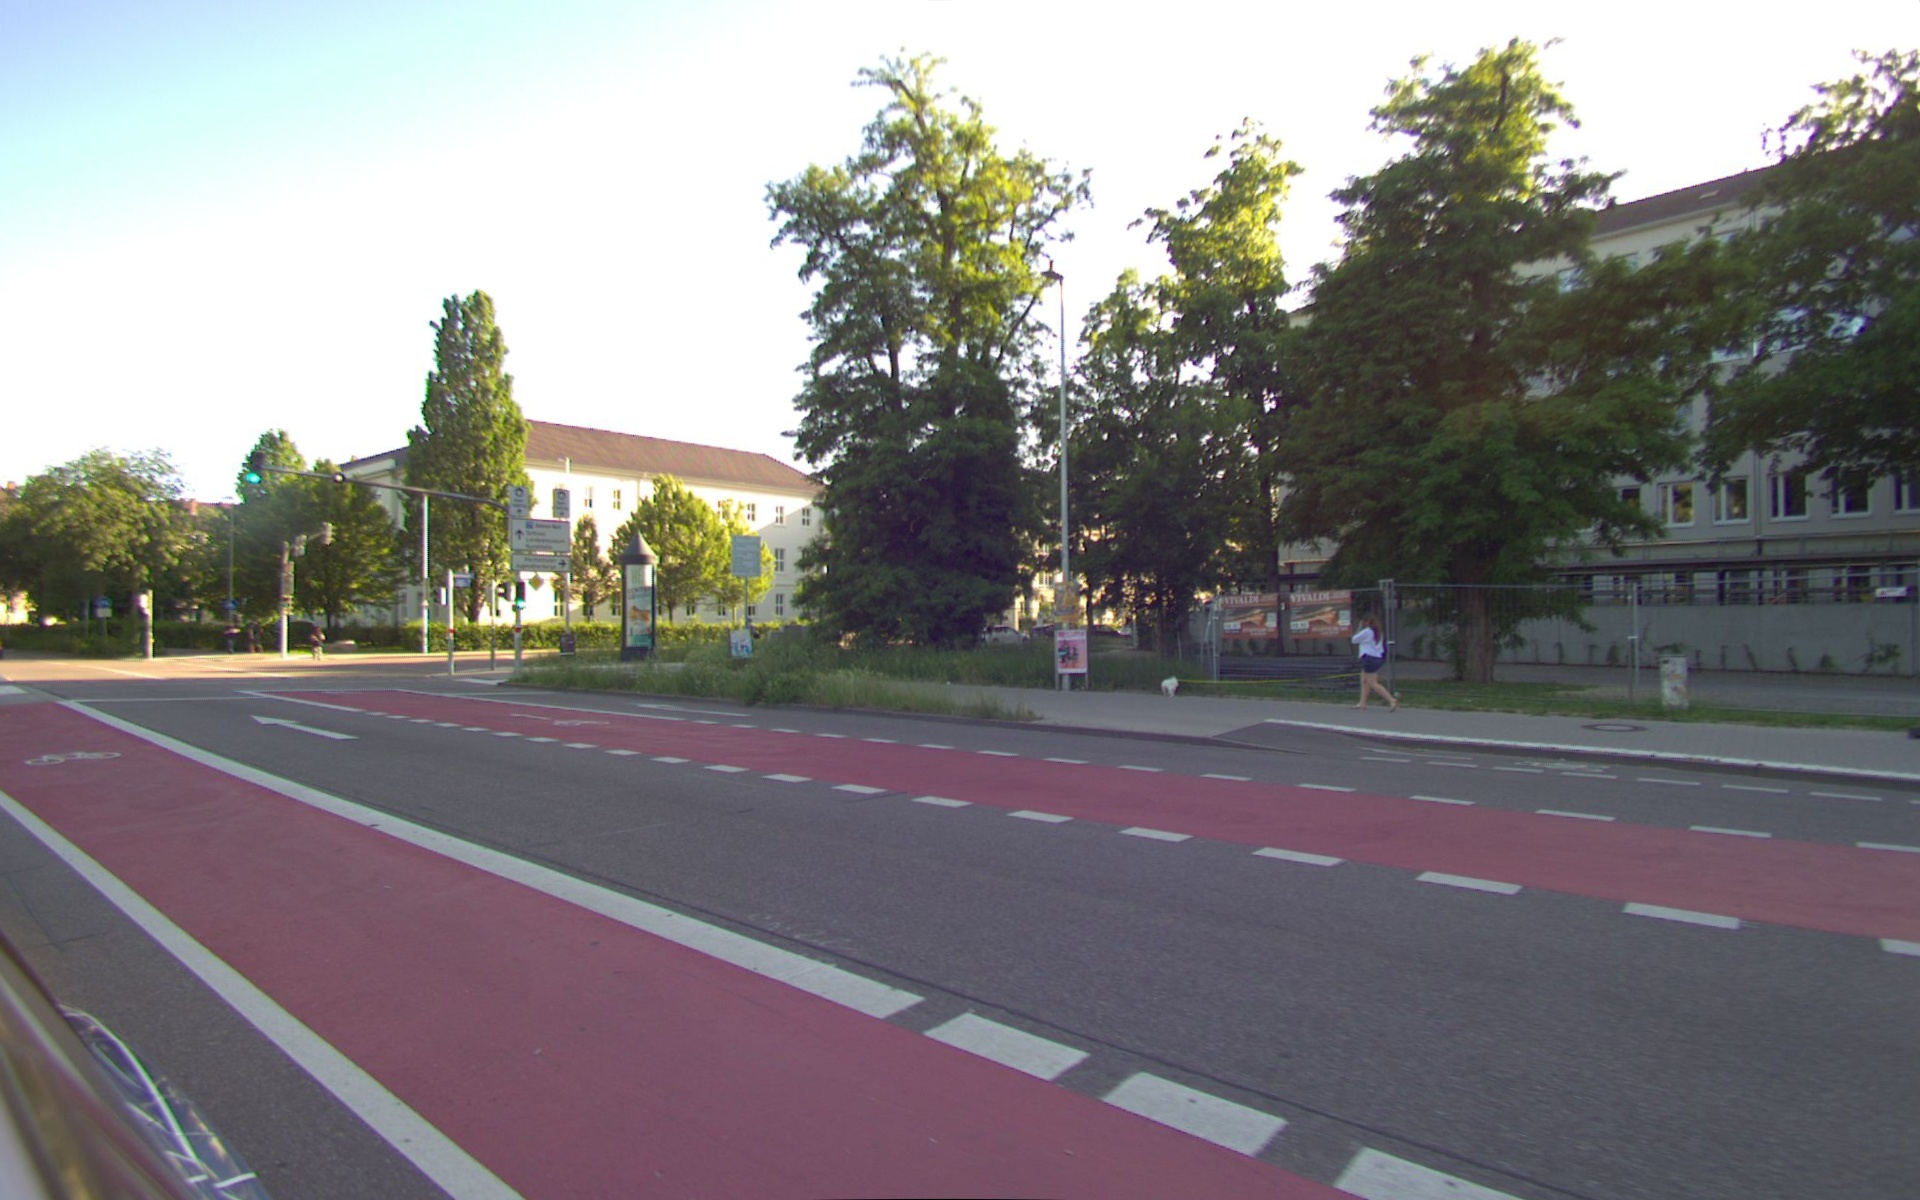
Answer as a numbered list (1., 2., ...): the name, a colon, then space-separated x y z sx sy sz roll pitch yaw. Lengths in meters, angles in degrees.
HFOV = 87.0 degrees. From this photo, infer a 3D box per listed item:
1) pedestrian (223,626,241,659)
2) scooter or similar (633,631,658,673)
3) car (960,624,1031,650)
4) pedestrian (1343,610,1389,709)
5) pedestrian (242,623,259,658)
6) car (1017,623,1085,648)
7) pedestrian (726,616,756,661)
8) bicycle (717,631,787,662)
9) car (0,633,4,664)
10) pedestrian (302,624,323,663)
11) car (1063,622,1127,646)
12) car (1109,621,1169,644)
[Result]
1. pedestrian: -38.129 2.210 53.014 0.681 1.694 0.681 1 -2 -42
2. scooter or similar: -10.310 1.690 33.121 0.683 1.304 1.501 0 -2 -21
3. car: 2.226 2.281 62.778 4.194 1.551 2.071 1 -2 -43
4. pedestrian: 6.498 0.941 16.186 0.570 1.545 0.447 -2 -2 35
5. pedestrian: -37.603 2.127 53.634 0.681 1.830 0.681 1 -2 -42
6. car: 6.023 2.305 66.782 4.194 1.551 2.240 1 -2 -43
7. pedestrian: -8.499 1.494 39.319 0.643 1.709 0.966 -2 -2 44
8. bicycle: -8.023 1.769 39.152 0.980 1.144 2.542 -2 -2 44
9. car: -46.941 2.327 47.759 4.542 1.432 1.697 -2 0 34
10. pedestrian: -30.691 2.059 47.948 0.734 1.830 0.727 1 -2 -42
11. car: 9.435 2.364 70.518 4.194 1.551 2.240 1 -2 -43
12. car: 13.072 2.358 73.894 4.194 1.551 2.240 1 -2 -43
